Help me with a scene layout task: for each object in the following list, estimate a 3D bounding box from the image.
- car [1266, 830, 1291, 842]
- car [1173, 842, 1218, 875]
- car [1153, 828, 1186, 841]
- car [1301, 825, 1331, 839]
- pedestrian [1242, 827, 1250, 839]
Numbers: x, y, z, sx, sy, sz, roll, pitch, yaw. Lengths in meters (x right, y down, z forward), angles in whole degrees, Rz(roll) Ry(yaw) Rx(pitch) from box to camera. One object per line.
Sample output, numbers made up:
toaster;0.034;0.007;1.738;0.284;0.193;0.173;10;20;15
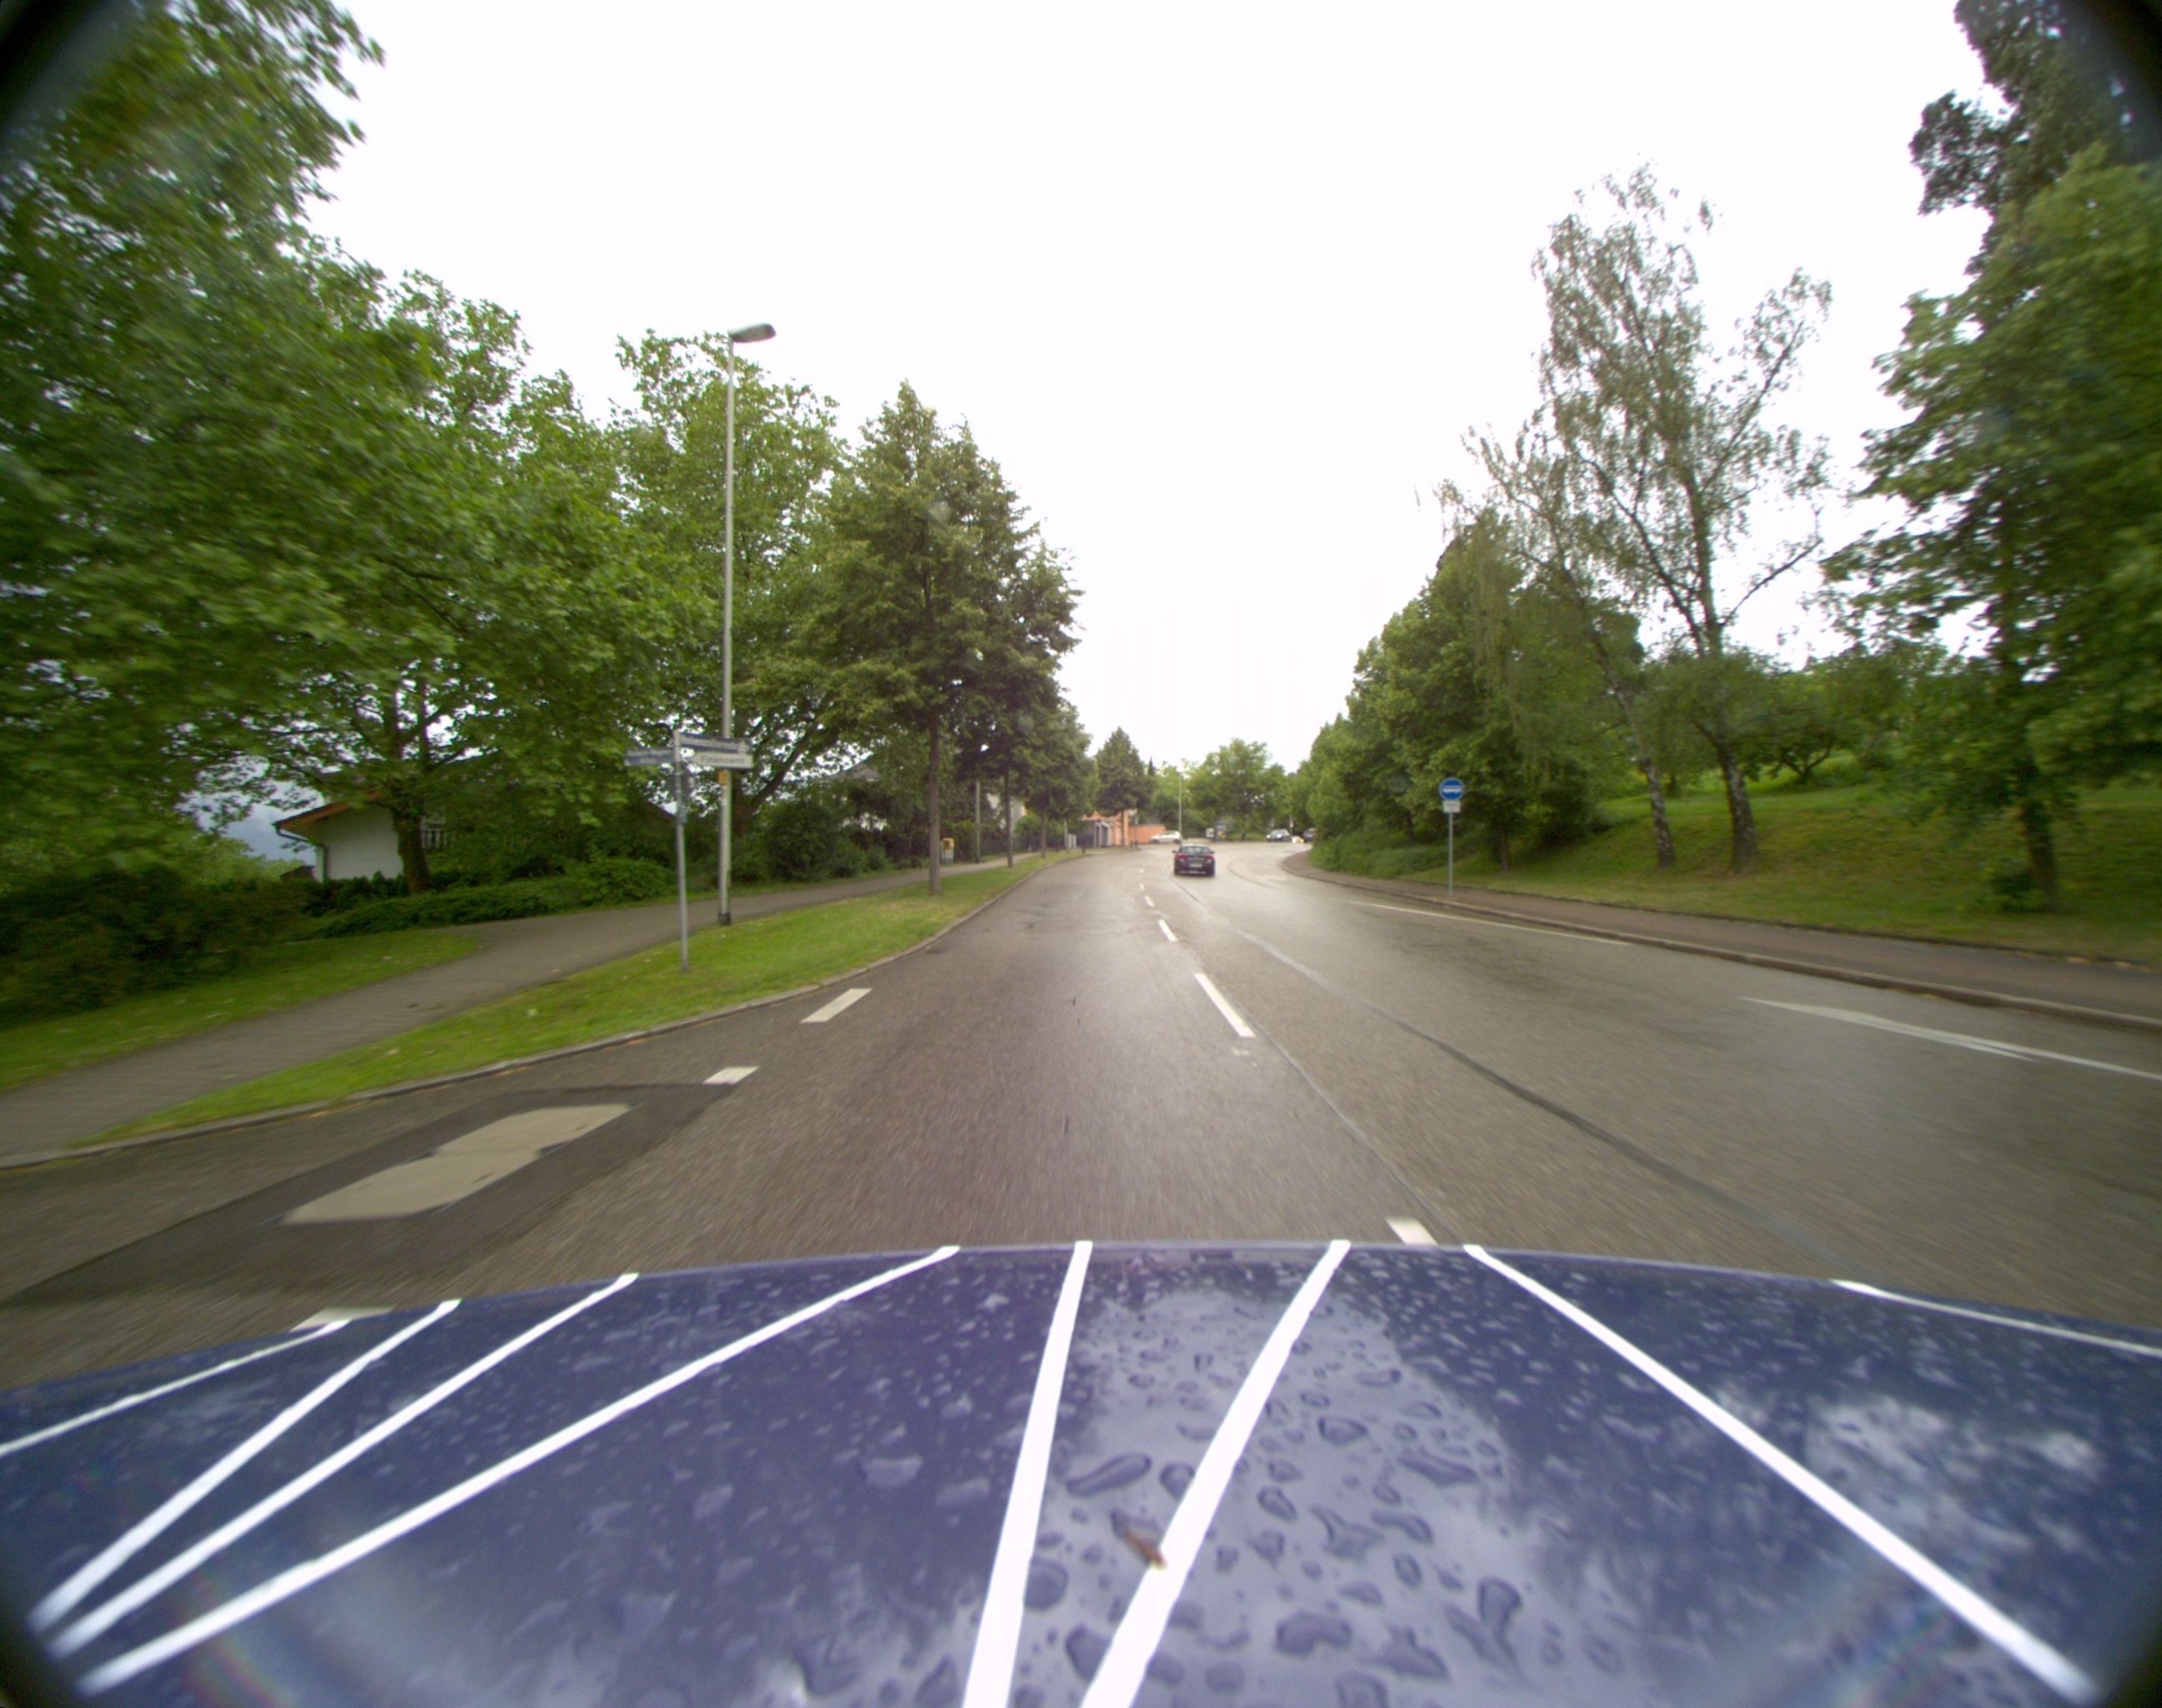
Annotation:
car;25.484;-2.353;97.988;1.858;1.406;4.395;0;0;33
car;5.196;0.187;34.891;1.725;1.375;4.141;1;1;5
car;11.029;-2.442;94.889;3.863;1.557;1.728;2;2;12
car;27.066;-2.538;87.419;1.811;1.568;4.694;1;3;36
pedestrian;23.025;-2.876;105.870;0.926;1.645;1.099;1;2;22
